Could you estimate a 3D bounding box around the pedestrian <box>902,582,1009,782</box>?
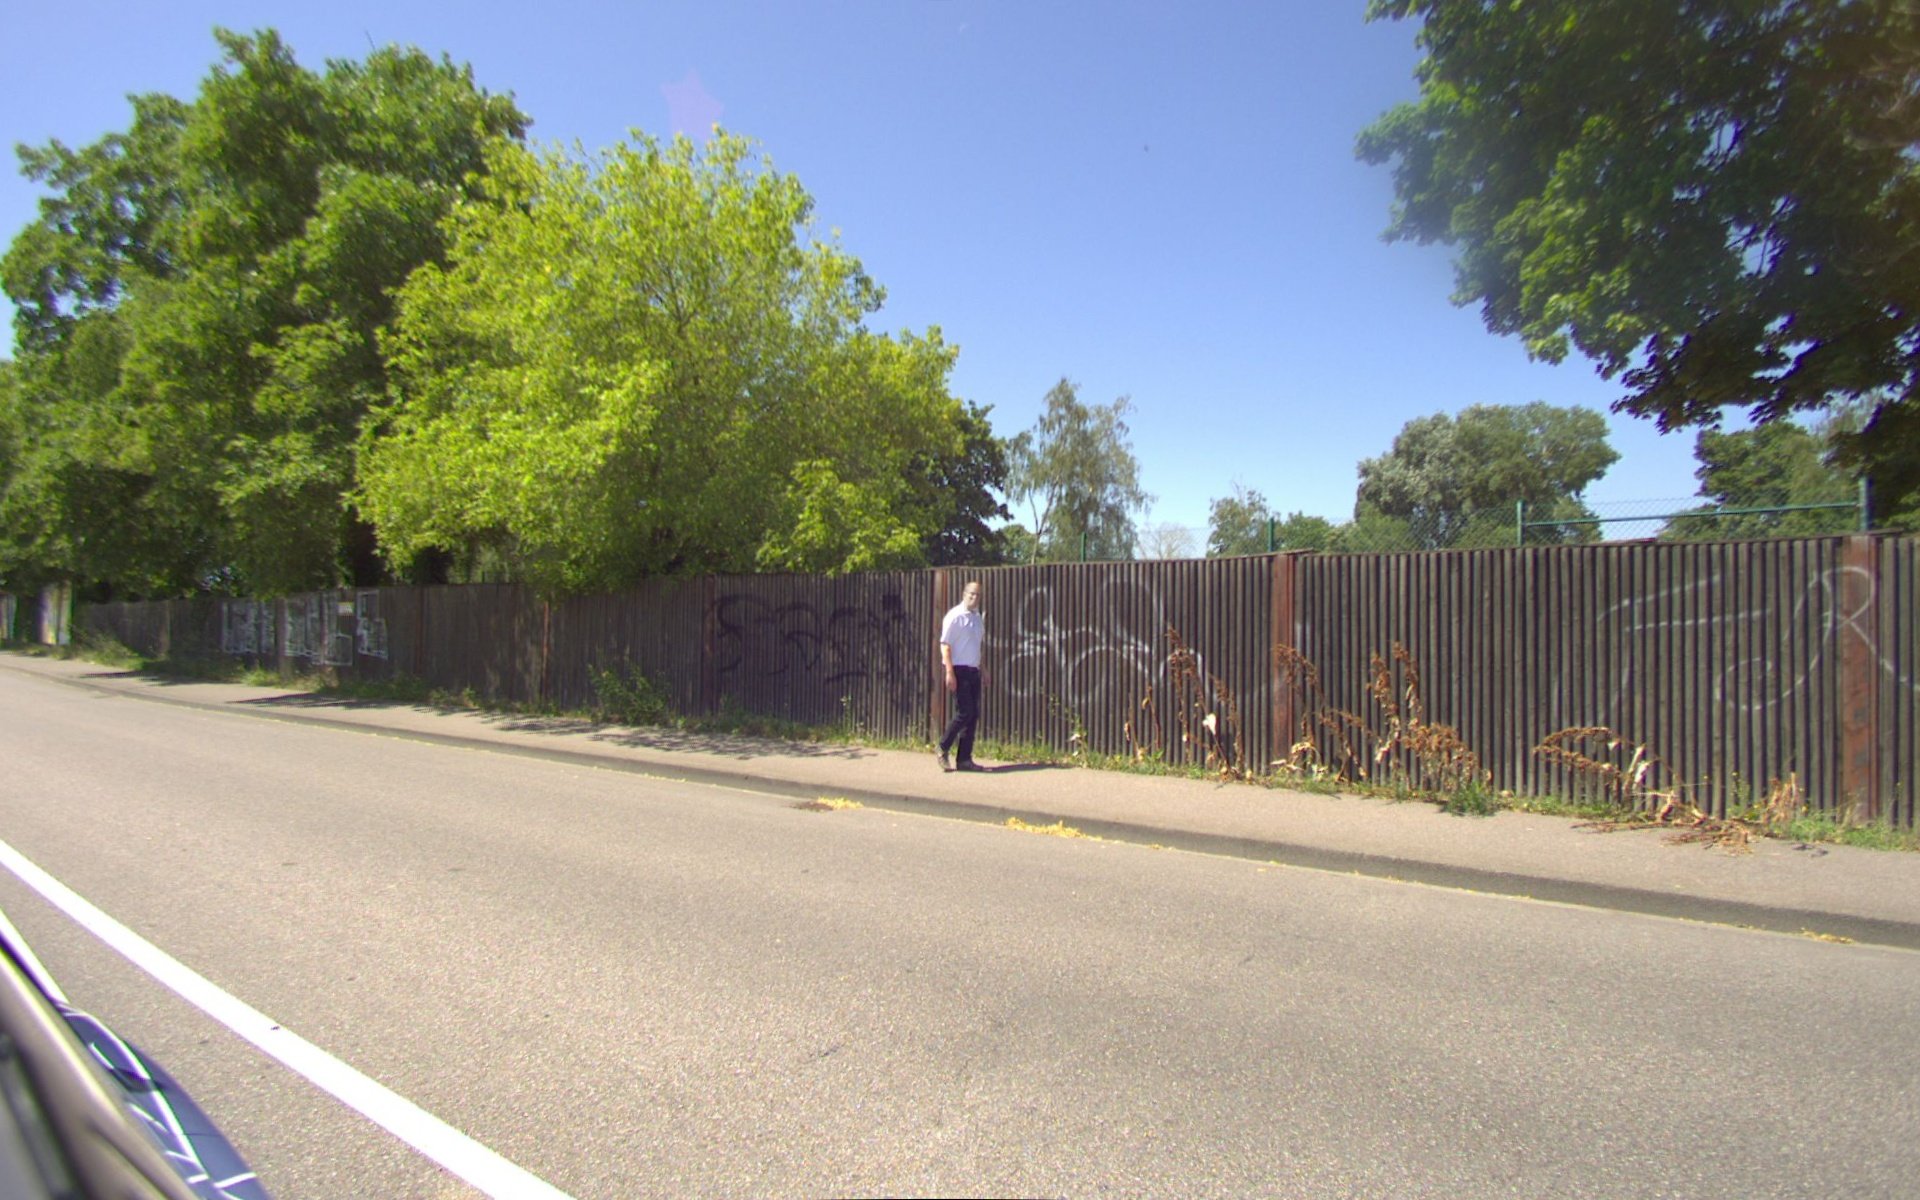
[{"bbox_3d":[-0.047,0.756,9.810,0.850,1.838,0.586,-1,-1,41],"label":"pedestrian"}]
